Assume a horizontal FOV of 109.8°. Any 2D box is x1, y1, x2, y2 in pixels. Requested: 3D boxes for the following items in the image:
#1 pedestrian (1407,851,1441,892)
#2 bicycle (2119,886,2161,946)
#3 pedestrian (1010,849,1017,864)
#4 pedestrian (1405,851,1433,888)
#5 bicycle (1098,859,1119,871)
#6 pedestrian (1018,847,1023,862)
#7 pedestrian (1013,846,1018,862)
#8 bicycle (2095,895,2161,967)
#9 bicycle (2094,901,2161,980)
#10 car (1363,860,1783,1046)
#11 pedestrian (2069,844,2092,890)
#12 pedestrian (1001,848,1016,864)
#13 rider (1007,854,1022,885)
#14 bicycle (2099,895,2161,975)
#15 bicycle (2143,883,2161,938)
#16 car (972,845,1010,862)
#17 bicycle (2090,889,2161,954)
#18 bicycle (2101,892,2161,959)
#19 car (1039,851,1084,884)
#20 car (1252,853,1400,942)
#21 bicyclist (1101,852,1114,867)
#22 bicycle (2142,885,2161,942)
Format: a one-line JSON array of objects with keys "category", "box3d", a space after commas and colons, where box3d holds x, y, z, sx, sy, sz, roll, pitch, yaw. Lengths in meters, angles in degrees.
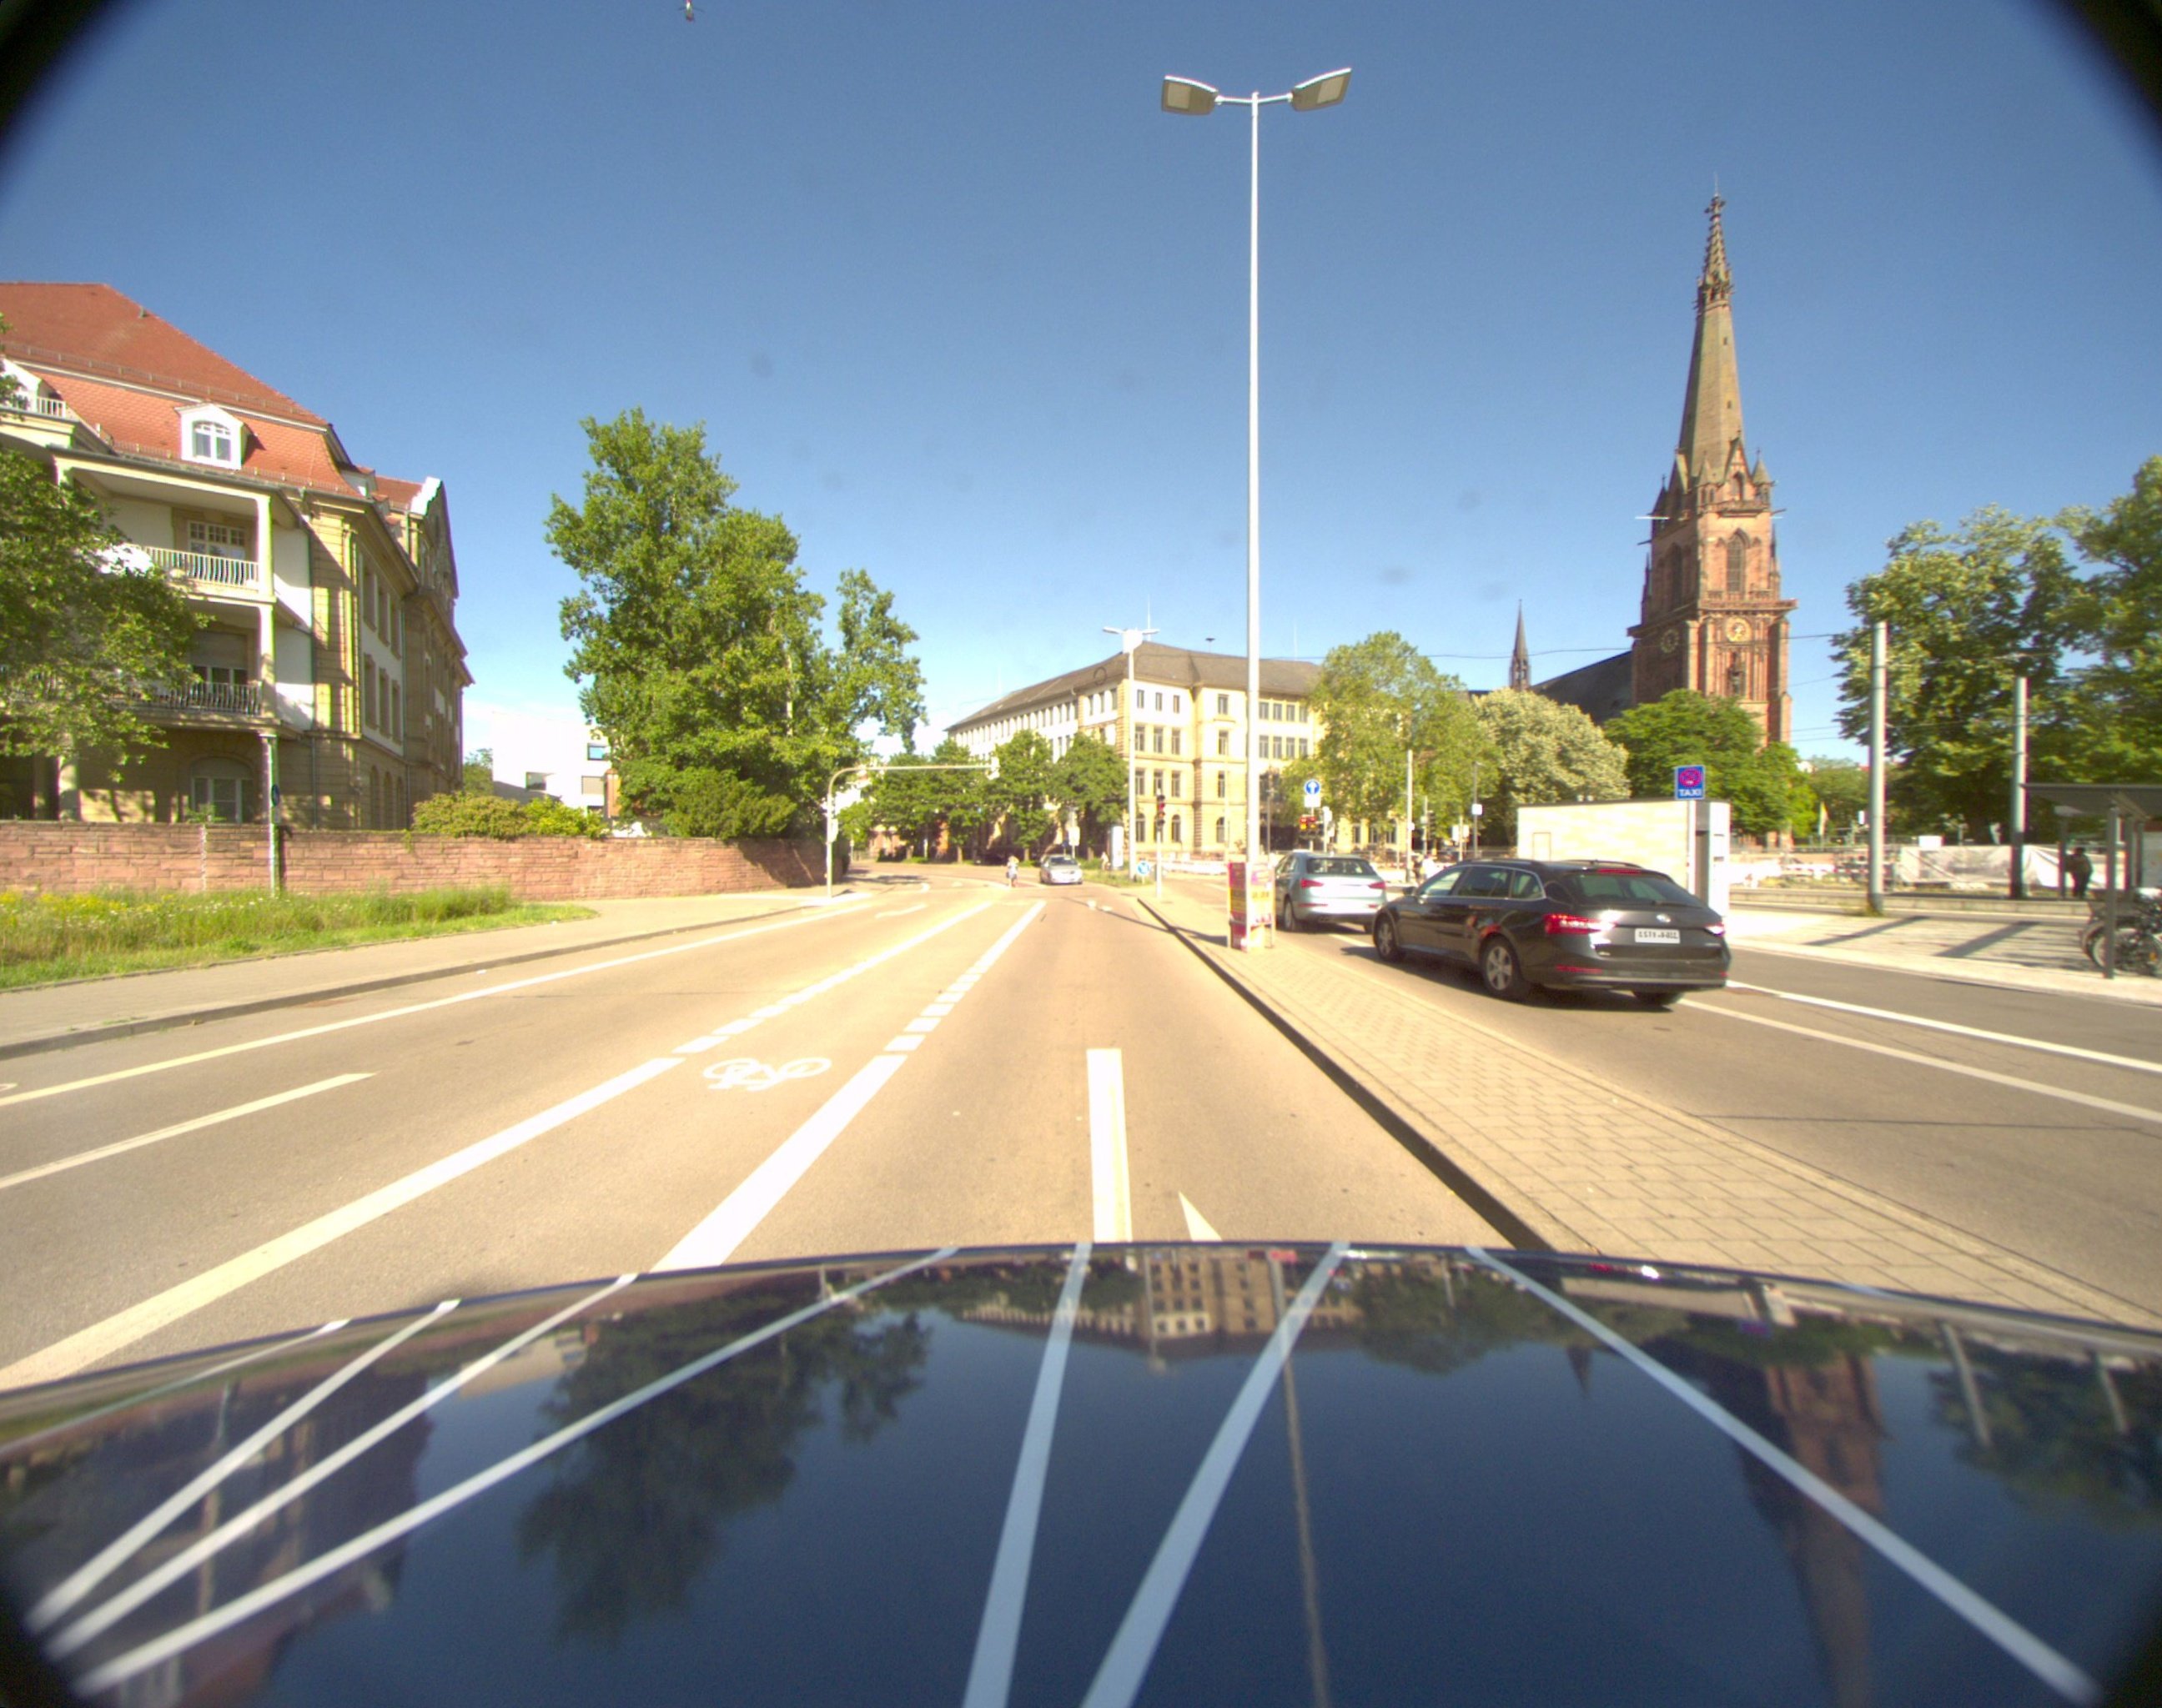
[{"category": "pedestrian", "box3d": [14.981, 0.756, 33.187, 0.977, 1.769, 1.131, 0, 1, -1]}, {"category": "bicycle", "box3d": [19.124, 1.096, 12.942, 0.458, 1.003, 1.667, -1, 1, -33]}, {"category": "pedestrian", "box3d": [-7.955, 0.270, 90.190, 0.677, 1.714, 0.588, -1, 3, -22]}, {"category": "pedestrian", "box3d": [16.434, 0.753, 36.939, 0.977, 1.769, 0.803, 0, 1, -1]}, {"category": "bicycle", "box3d": [2.386, 0.968, 66.576, 1.830, 0.985, 0.735, 0, 1, 44]}, {"category": "pedestrian", "box3d": [-7.212, 0.058, 90.613, 0.522, 1.865, 0.360, -1, 1, -33]}, {"category": "pedestrian", "box3d": [-7.747, 0.033, 90.190, 0.522, 1.882, 0.360, -1, 1, -33]}, {"category": "bicycle", "box3d": [16.069, 1.151, 10.970, 0.458, 1.003, 1.667, -1, 1, -33]}, {"category": "bicycle", "box3d": [14.696, 1.169, 9.959, 0.458, 1.003, 1.667, -1, 1, -33]}, {"category": "car", "box3d": [5.056, 0.871, 8.786, 1.793, 1.490, 4.574, 1, 1, -1]}, {"category": "pedestrian", "box3d": [37.569, 0.497, 28.570, 0.404, 1.711, 0.419, 1, 1, 38]}, {"category": "pedestrian", "box3d": [-8.333, 0.186, 87.010, 0.934, 1.812, 1.394, 1, 1, 45]}, {"category": "rider", "box3d": [-3.470, 0.812, 39.733, 0.658, 1.610, 0.989, -1, 1, 1]}, {"category": "bicycle", "box3d": [15.197, 1.130, 10.274, 0.458, 1.055, 1.667, -1, 1, -33]}, {"category": "bicycle", "box3d": [20.484, 1.061, 13.604, 0.458, 1.003, 1.667, -1, 1, -33]}, {"category": "car", "box3d": [-10.726, -0.039, 90.757, 1.994, 2.002, 4.721, 0, 1, 32]}, {"category": "bicycle", "box3d": [17.910, 1.125, 12.421, 0.458, 1.003, 1.667, -1, 1, -33]}, {"category": "bicycle", "box3d": [17.256, 1.145, 11.648, 0.458, 1.003, 1.899, -1, 1, -33]}, {"category": "car", "box3d": [-1.082, 0.687, 41.060, 1.707, 1.657, 3.910, -2, 1, -12]}, {"category": "car", "box3d": [4.871, 0.785, 15.762, 1.859, 1.533, 4.241, 1, 1, 3]}, {"category": "bicyclist", "box3d": [2.351, 0.478, 66.595, 0.893, 1.377, 0.735, 1, 1, 44]}, {"category": "bicycle", "box3d": [19.891, 1.073, 13.193, 0.458, 1.003, 1.667, -1, 1, -33]}]
